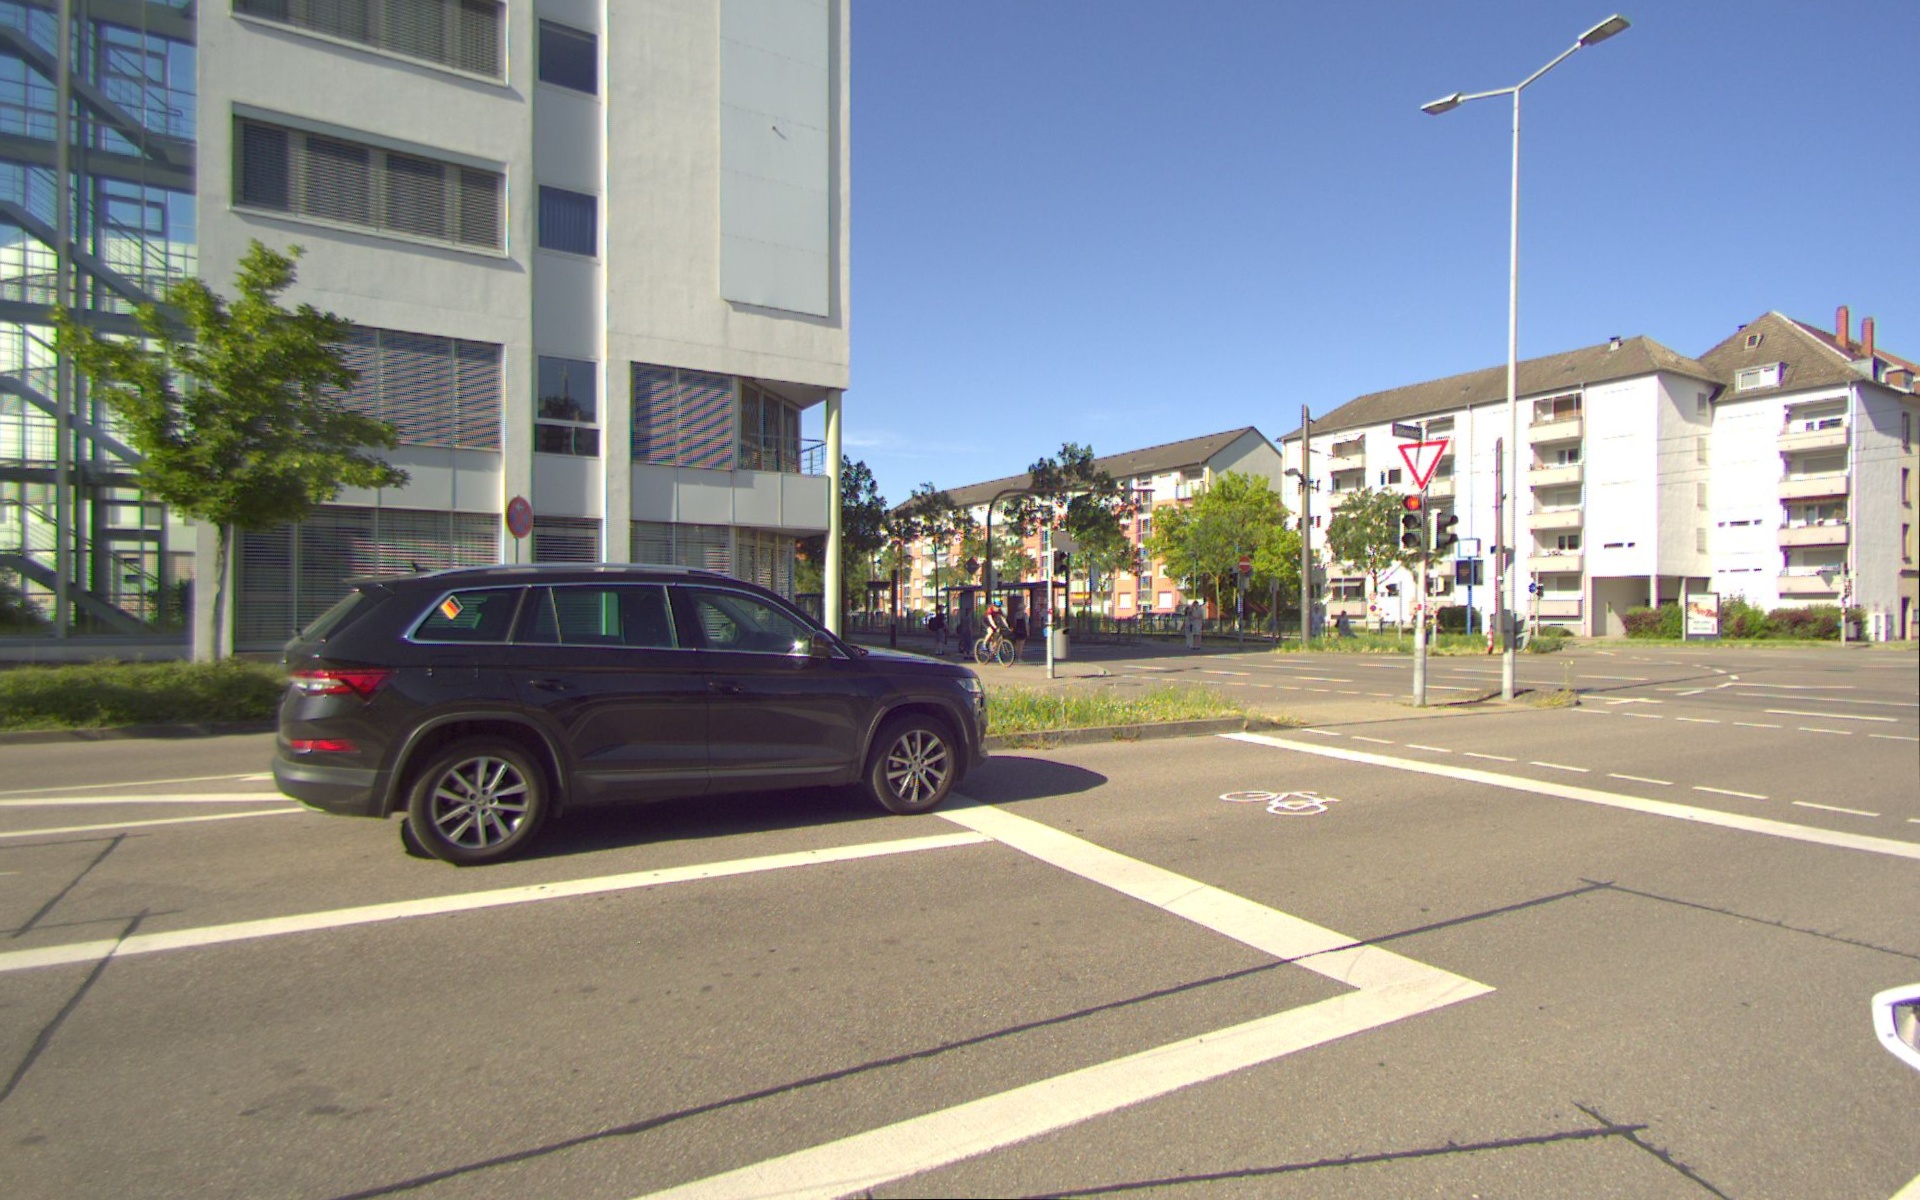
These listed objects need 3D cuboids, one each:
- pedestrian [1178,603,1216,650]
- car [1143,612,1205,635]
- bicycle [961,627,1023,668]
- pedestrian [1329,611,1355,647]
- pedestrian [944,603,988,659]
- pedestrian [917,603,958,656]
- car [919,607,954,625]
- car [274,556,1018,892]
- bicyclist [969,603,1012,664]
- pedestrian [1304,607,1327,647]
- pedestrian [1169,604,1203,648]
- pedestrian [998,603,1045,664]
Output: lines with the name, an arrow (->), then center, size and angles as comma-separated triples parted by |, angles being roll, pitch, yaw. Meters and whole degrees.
pedestrian -> 9.209, 1.020, 38.994 | 1.143, 1.794, 0.914 | 1, -1, -36
car -> 15.591, 1.688, 73.348 | 4.310, 1.451, 1.694 | 2, 1, 7
bicycle -> 0.840, 1.250, 26.892 | 0.668, 1.069, 1.791 | 1, -1, -39
pedestrian -> 16.845, 1.280, 44.293 | 0.850, 1.554, 0.719 | 1, -1, -36
pedestrian -> 0.193, 0.964, 31.642 | 1.143, 1.749, 0.805 | 1, -1, -36
pedestrian -> -0.757, 1.002, 33.972 | 1.143, 1.749, 0.805 | 1, -1, -36
car -> -2.534, 1.677, 106.927 | 1.978, 1.873, 3.964 | 1, -1, -33
car -> -1.924, 0.617, 6.838 | 4.428, 1.650, 1.744 | 1, 1, -32
bicyclist -> 0.820, 0.886, 26.913 | 0.668, 1.607, 0.993 | 1, -1, -40
pedestrian -> 15.851, 1.191, 44.806 | 0.797, 1.749, 1.155 | 0, -1, 11
pedestrian -> 9.122, 1.032, 40.551 | 1.143, 1.749, 0.805 | 1, -1, -36
pedestrian -> 1.809, 0.974, 29.531 | 1.143, 1.749, 0.805 | 1, -1, -36
